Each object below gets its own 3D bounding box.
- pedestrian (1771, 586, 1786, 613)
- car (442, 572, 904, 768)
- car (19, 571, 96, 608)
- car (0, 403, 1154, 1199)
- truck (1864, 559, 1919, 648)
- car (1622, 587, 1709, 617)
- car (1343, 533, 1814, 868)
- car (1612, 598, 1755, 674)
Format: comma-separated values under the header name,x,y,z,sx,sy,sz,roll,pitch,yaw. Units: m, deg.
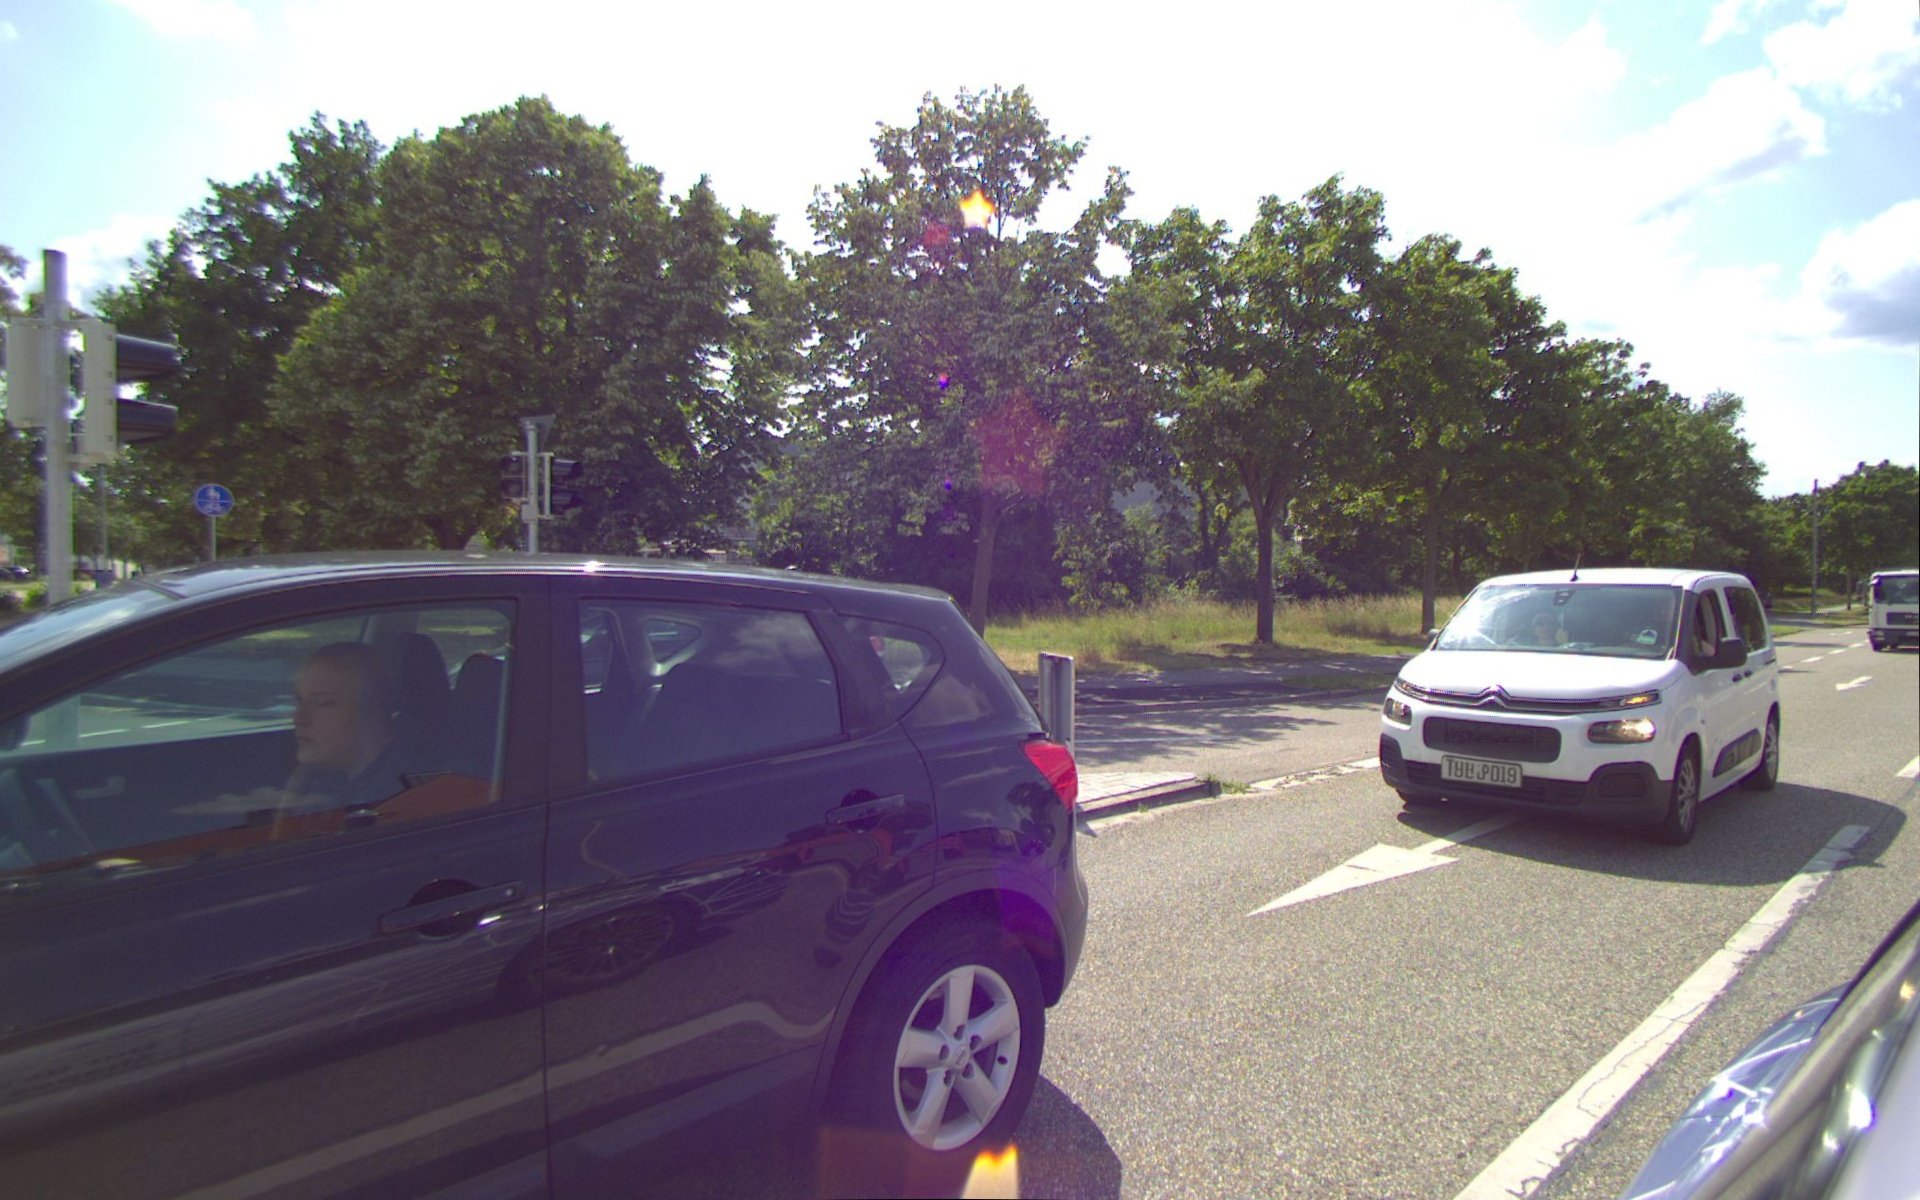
name,x,y,z,sx,sy,sz,roll,pitch,yaw
pedestrian,55.716,-0.063,68.886,0.728,1.816,0.717,-1,-1,-45
car,-2.739,0.627,10.315,4.151,1.670,1.774,-2,0,-8
car,-32.377,-0.370,36.287,1.884,1.193,3.768,-1,0,-44
car,-1.523,0.550,2.168,3.933,1.572,1.801,-2,0,-43
truck,31.827,0.016,32.779,7.224,2.697,2.845,-2,0,-41
car,42.895,0.124,61.588,4.161,1.511,1.758,5,2,41
car,4.960,0.556,7.786,4.637,1.808,1.932,0,-1,-44
car,16.673,0.770,23.259,3.930,1.509,1.757,-2,0,-41
